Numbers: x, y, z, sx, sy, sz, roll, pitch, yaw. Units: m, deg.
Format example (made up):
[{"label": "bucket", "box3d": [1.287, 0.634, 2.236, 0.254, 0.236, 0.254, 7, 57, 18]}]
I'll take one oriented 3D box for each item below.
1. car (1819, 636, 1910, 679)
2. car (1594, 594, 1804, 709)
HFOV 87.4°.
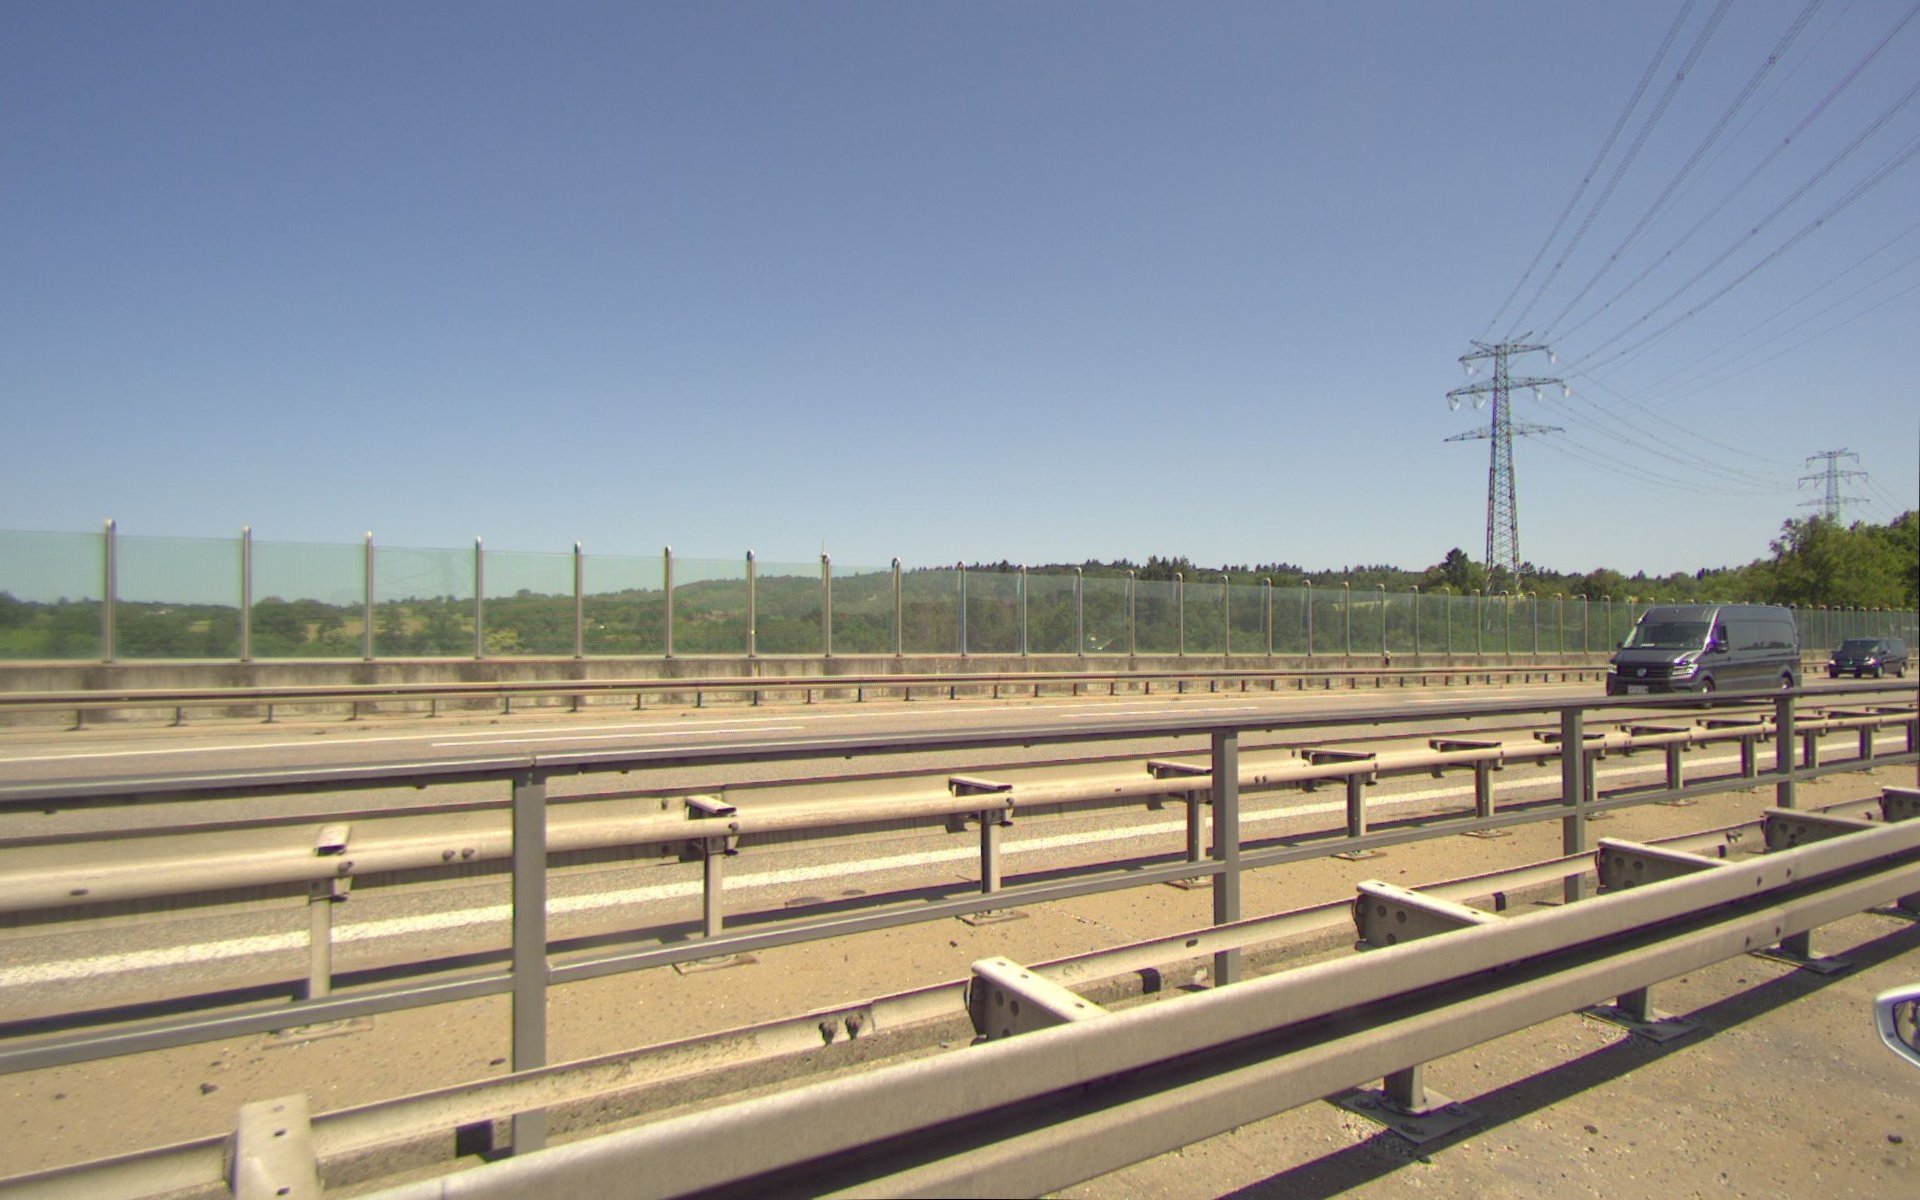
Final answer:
[{"label": "car", "box3d": [43.250, 2.738, 48.006, 4.896, 1.930, 1.947, 2, -3, -32]}, {"label": "car", "box3d": [18.942, 1.332, 25.625, 6.577, 2.616, 1.983, 2, -4, -32]}]
